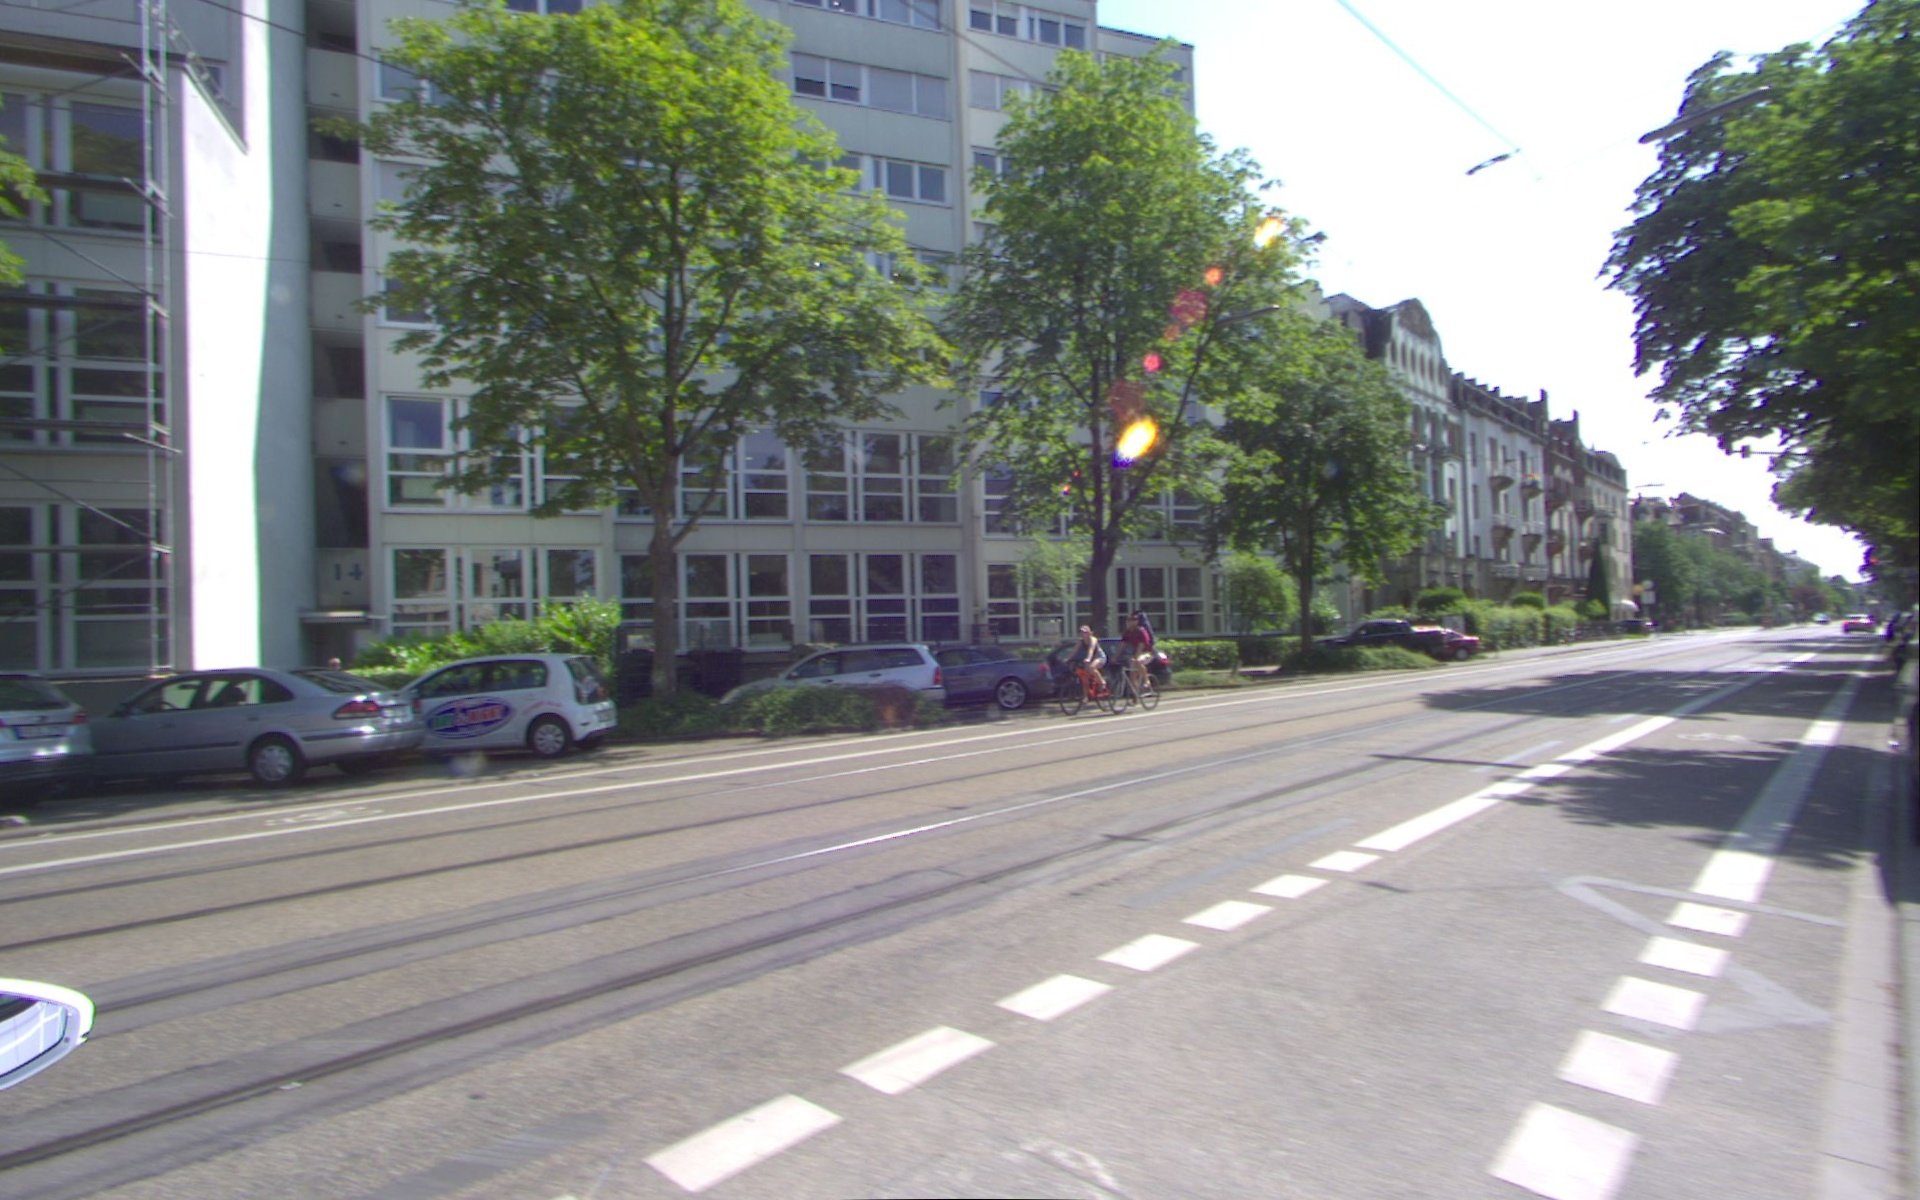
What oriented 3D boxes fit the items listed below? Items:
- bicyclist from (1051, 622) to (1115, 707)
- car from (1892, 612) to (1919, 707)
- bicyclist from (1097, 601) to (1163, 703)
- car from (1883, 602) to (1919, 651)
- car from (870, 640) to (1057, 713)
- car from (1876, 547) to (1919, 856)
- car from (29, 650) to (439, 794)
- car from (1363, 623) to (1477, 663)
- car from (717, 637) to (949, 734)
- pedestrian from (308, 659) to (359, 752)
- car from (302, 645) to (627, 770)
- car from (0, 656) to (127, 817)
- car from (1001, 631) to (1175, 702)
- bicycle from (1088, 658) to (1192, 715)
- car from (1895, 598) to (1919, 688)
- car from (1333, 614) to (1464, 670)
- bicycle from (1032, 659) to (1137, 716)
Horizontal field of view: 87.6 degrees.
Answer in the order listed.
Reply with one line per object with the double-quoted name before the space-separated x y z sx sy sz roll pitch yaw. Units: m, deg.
"bicyclist" 2.338 1.219 19.021 0.855 1.562 0.797 0 -3 -44
"car" 16.359 0.873 16.130 1.837 1.429 3.966 -4 -3 42
"bicyclist" 3.159 0.964 18.610 0.855 1.823 0.797 0 -2 -44
"car" 35.247 0.941 36.785 1.837 1.701 3.966 -4 -3 42
"car" 0.051 1.631 21.658 3.868 1.374 1.559 -2 -2 -2
"car" 7.224 0.524 6.373 1.839 1.705 3.962 -4 -3 45
"car" -8.785 1.447 12.337 3.868 1.504 1.614 -2 -2 0
"car" 19.800 1.865 43.242 3.922 1.527 2.001 -2 -2 -2
"car" -2.412 1.622 19.459 4.260 1.624 1.560 -2 -3 -5
"pedestrian" -10.287 1.717 16.439 0.616 1.479 0.420 -1 -2 -44
"car" -7.058 1.506 14.537 3.868 1.504 1.614 -3 -2 -1
"car" -11.311 1.408 10.041 4.349 1.504 1.785 -2 -2 -2
"car" 3.001 1.571 23.976 3.868 1.504 1.559 -2 -2 -2
"bicycle" 3.397 1.599 18.763 2.298 0.928 0.674 0 -3 -44
"car" 19.944 0.793 19.903 1.837 1.701 3.966 -4 -3 42
"car" 16.272 1.576 37.263 3.924 1.883 2.000 -2 -2 -9
"bicycle" 2.411 1.645 19.105 2.298 0.928 0.674 0 -3 -44
